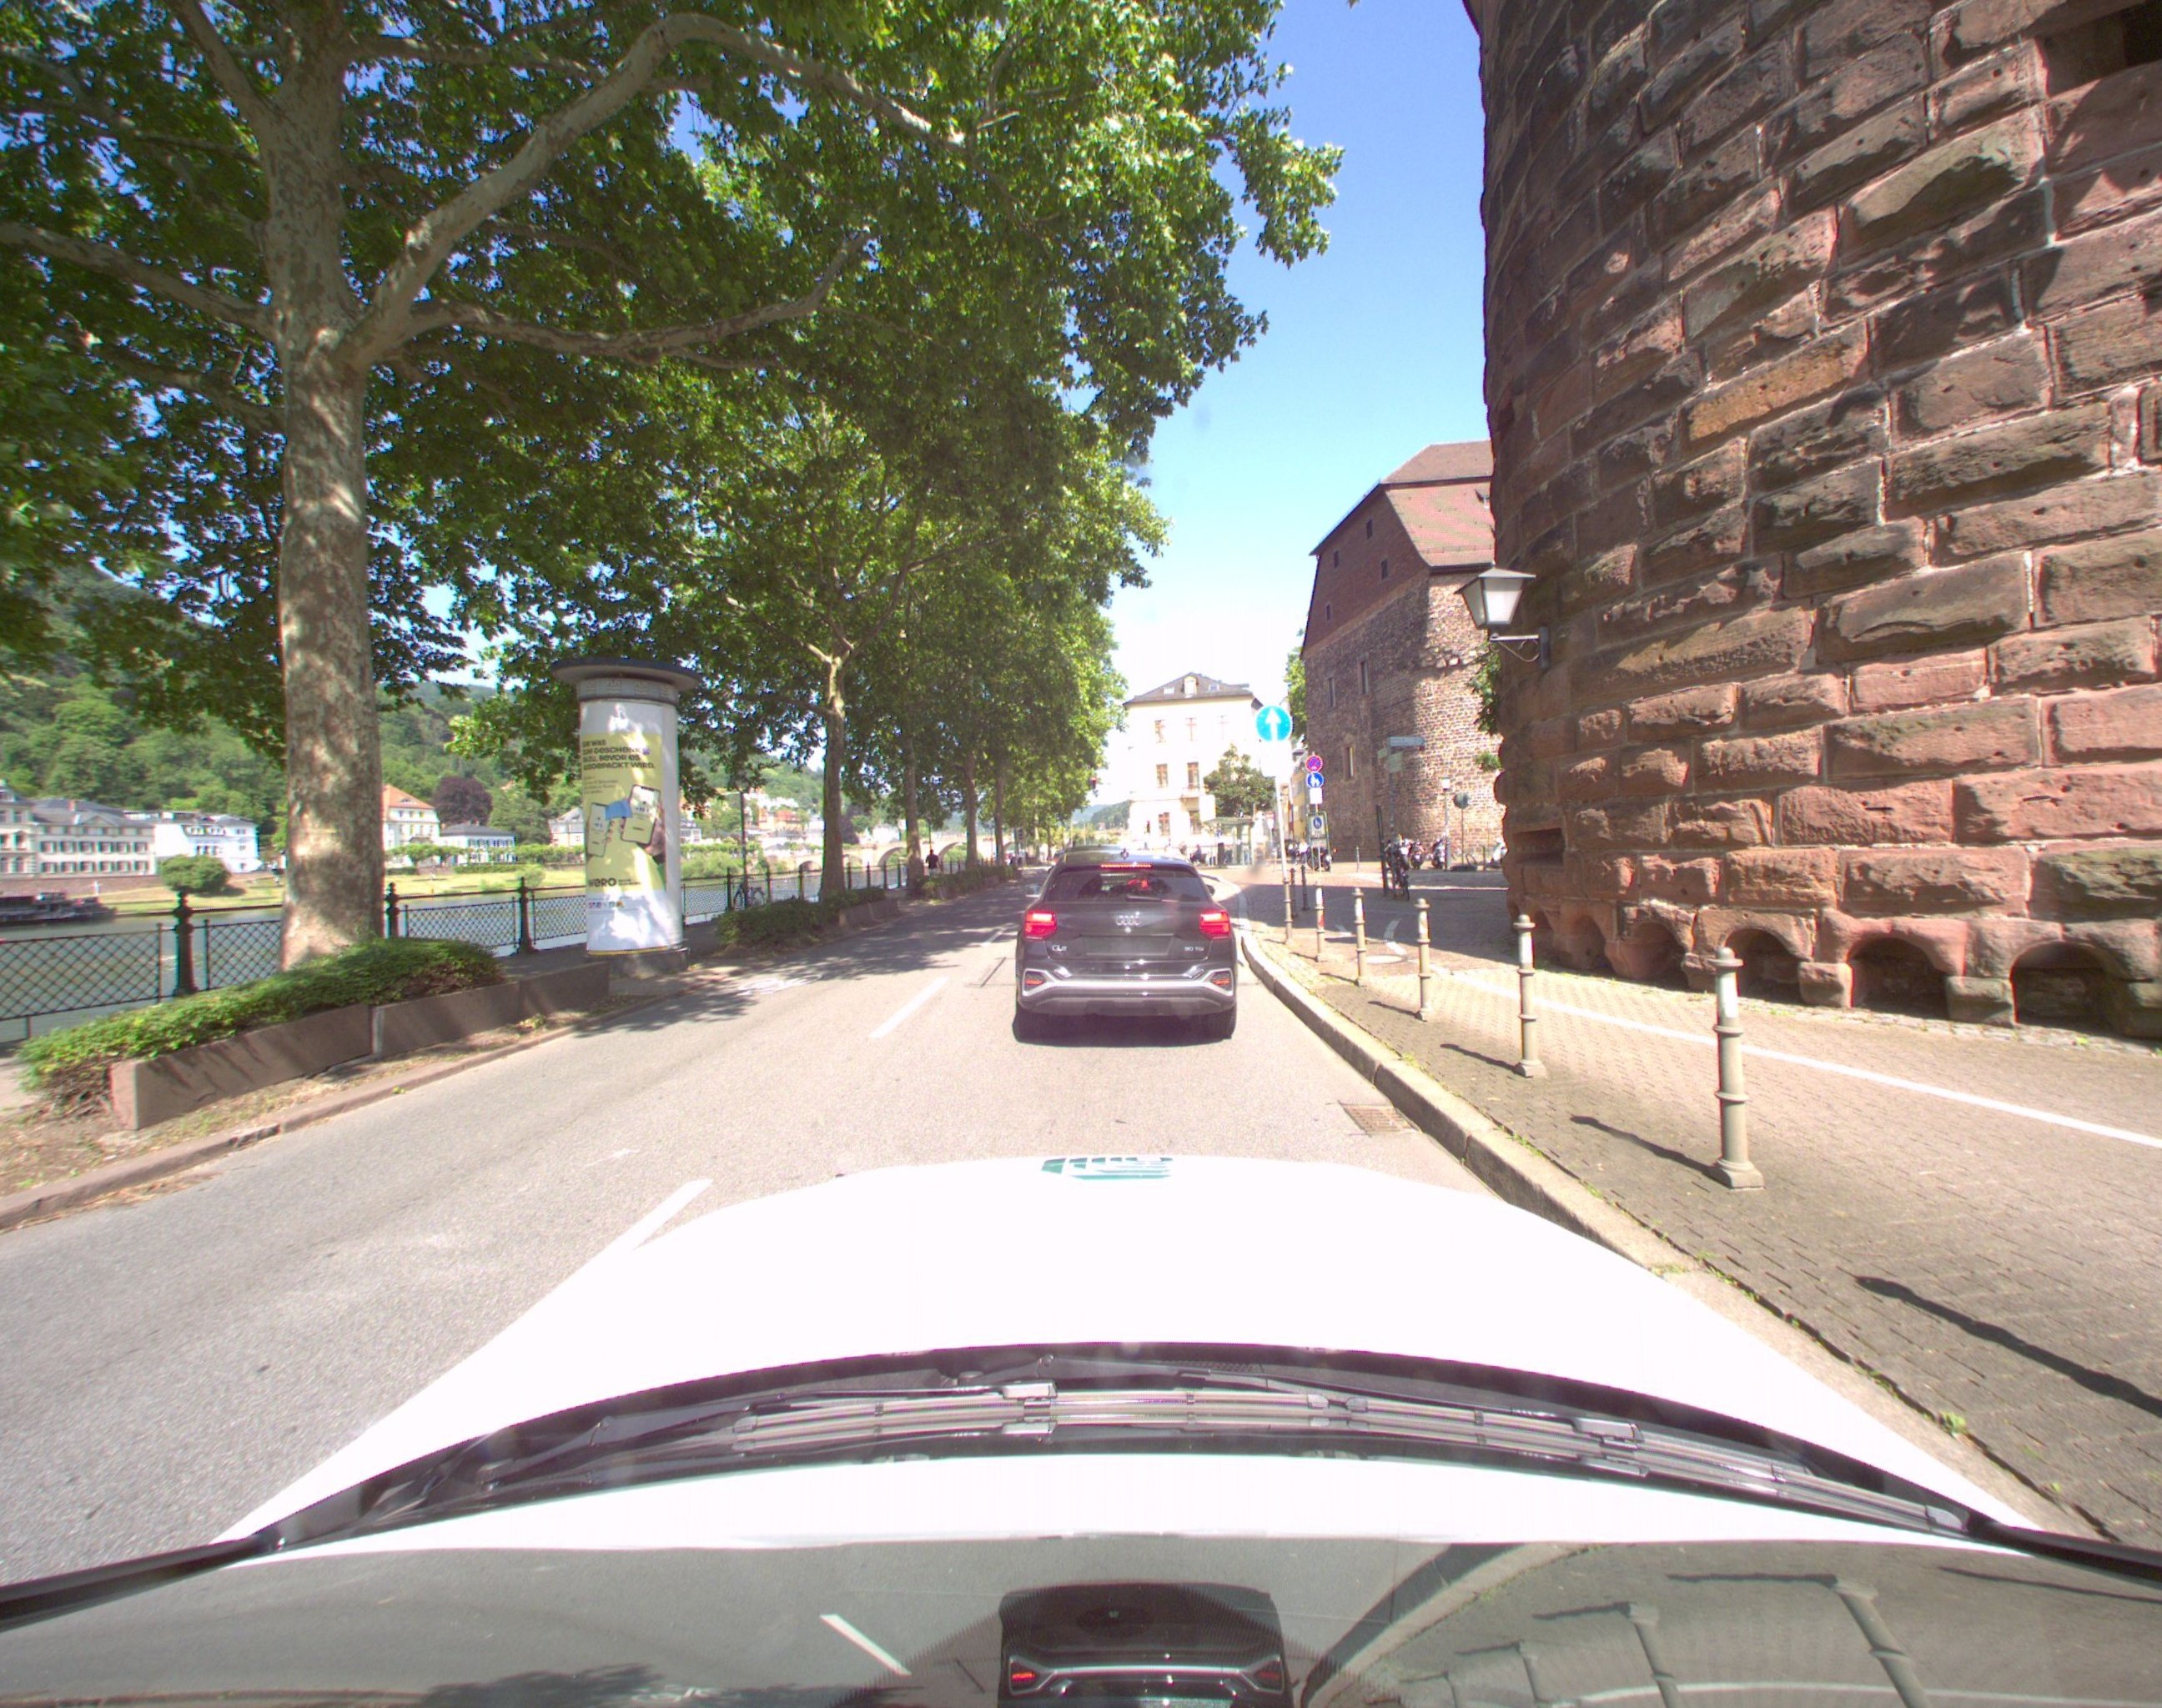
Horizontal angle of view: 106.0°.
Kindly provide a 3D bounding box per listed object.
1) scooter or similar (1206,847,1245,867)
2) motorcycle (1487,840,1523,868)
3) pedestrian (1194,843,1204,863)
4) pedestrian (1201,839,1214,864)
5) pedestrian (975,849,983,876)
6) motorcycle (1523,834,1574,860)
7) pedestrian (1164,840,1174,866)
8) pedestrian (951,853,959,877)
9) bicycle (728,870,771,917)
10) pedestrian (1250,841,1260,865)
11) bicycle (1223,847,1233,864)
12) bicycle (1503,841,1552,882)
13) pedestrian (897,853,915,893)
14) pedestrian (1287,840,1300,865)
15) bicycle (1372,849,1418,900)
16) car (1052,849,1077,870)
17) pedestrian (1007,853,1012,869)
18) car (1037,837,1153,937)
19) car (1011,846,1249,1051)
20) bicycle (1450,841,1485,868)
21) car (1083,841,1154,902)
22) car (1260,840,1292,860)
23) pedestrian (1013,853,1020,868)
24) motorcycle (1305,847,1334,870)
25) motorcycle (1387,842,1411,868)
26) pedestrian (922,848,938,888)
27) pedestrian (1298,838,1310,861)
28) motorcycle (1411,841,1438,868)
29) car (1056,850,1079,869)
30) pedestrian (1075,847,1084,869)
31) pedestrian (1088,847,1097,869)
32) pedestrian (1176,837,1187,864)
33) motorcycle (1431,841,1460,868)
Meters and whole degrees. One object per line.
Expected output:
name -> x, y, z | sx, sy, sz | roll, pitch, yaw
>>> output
scooter or similar -> 7.230, 0.151, 40.774 | 1.838, 0.963, 0.429 | 0, 0, 1
motorcycle -> 15.662, -0.007, 30.098 | 0.496, 1.019, 1.702 | 0, 0, 2
pedestrian -> 7.117, -0.054, 49.280 | 0.544, 1.201, 0.523 | 0, 0, 3
pedestrian -> 7.991, -0.186, 51.438 | 0.744, 1.557, 0.589 | -1, 0, 2
pedestrian -> -7.446, 0.596, 59.626 | 0.499, 1.958, 0.438 | -2, 0, -6
motorcycle -> 18.431, -0.276, 32.131 | 1.683, 1.019, 0.502 | 0, 0, 14
pedestrian -> 5.241, -0.067, 48.613 | 0.555, 1.557, 0.660 | -1, 0, 3
pedestrian -> -8.287, 0.721, 53.690 | 0.496, 1.537, 0.678 | 0, 0, -5
bicycle -> -8.884, 1.034, 21.893 | 0.356, 1.162, 1.825 | -3, 0, -1
pedestrian -> 12.099, -0.061, 56.756 | 0.544, 1.634, 0.660 | 0, 0, -1
bicycle -> 8.877, 0.086, 49.178 | 0.449, 0.974, 1.400 | 0, 0, 2
bicycle -> 11.653, 0.186, 21.317 | 0.493, 1.030, 2.056 | 0, 0, 10
pedestrian -> -7.751, 0.834, 36.033 | 0.643, 1.717, 0.665 | 0, 0, -1
pedestrian -> 12.929, -0.100, 49.613 | 0.655, 1.493, 0.548 | 0, 0, 3
bicycle -> 6.851, 0.414, 17.825 | 0.493, 1.030, 2.056 | -3, 0, 10
car -> -1.247, 0.397, 63.748 | 1.608, 1.523, 3.480 | -3, 0, 4
pedestrian -> -6.352, 0.631, 72.205 | 0.407, 1.425, 0.457 | 0, 0, 0
car -> 0.291, 0.517, 14.566 | 1.794, 1.562, 3.718 | 0, 0, 2
car -> 0.388, 0.686, 7.810 | 1.742, 1.494, 3.629 | -1, 0, 1
bicycle -> 14.453, 0.022, 30.478 | 0.402, 0.989, 1.825 | 0, 0, -1
car -> 1.056, 0.449, 23.322 | 1.794, 1.523, 3.718 | -3, 0, 2
car -> 17.553, -0.363, 73.464 | 1.986, 1.716, 4.002 | 0, 0, 2
pedestrian -> -5.493, 0.522, 69.547 | 0.588, 1.278, 0.525 | 0, 0, 2
motorcycle -> 9.118, 0.159, 31.251 | 0.482, 0.818, 2.281 | -3, 0, 2
motorcycle -> 12.027, 0.030, 30.841 | 0.434, 0.973, 1.359 | 0, 0, 2
pedestrian -> -6.830, 0.621, 36.821 | 0.562, 1.741, 0.665 | -2, 0, -1
pedestrian -> 14.571, -0.308, 53.158 | 0.655, 1.517, 0.548 | 0, 0, 3
motorcycle -> 12.901, 0.027, 30.599 | 0.456, 0.973, 1.467 | 0, 0, 2
car -> -1.132, 0.426, 71.136 | 1.608, 1.523, 3.480 | -3, 0, 4
pedestrian -> -0.096, 0.307, 57.570 | 0.555, 1.557, 0.660 | -1, 0, 3
pedestrian -> 0.809, 0.302, 57.412 | 0.555, 1.557, 0.660 | -1, 0, 3
pedestrian -> 6.150, -0.201, 49.874 | 0.555, 1.633, 0.660 | -1, 0, 3
motorcycle -> 13.681, 0.023, 30.582 | 0.456, 0.973, 1.467 | 0, 0, 2
